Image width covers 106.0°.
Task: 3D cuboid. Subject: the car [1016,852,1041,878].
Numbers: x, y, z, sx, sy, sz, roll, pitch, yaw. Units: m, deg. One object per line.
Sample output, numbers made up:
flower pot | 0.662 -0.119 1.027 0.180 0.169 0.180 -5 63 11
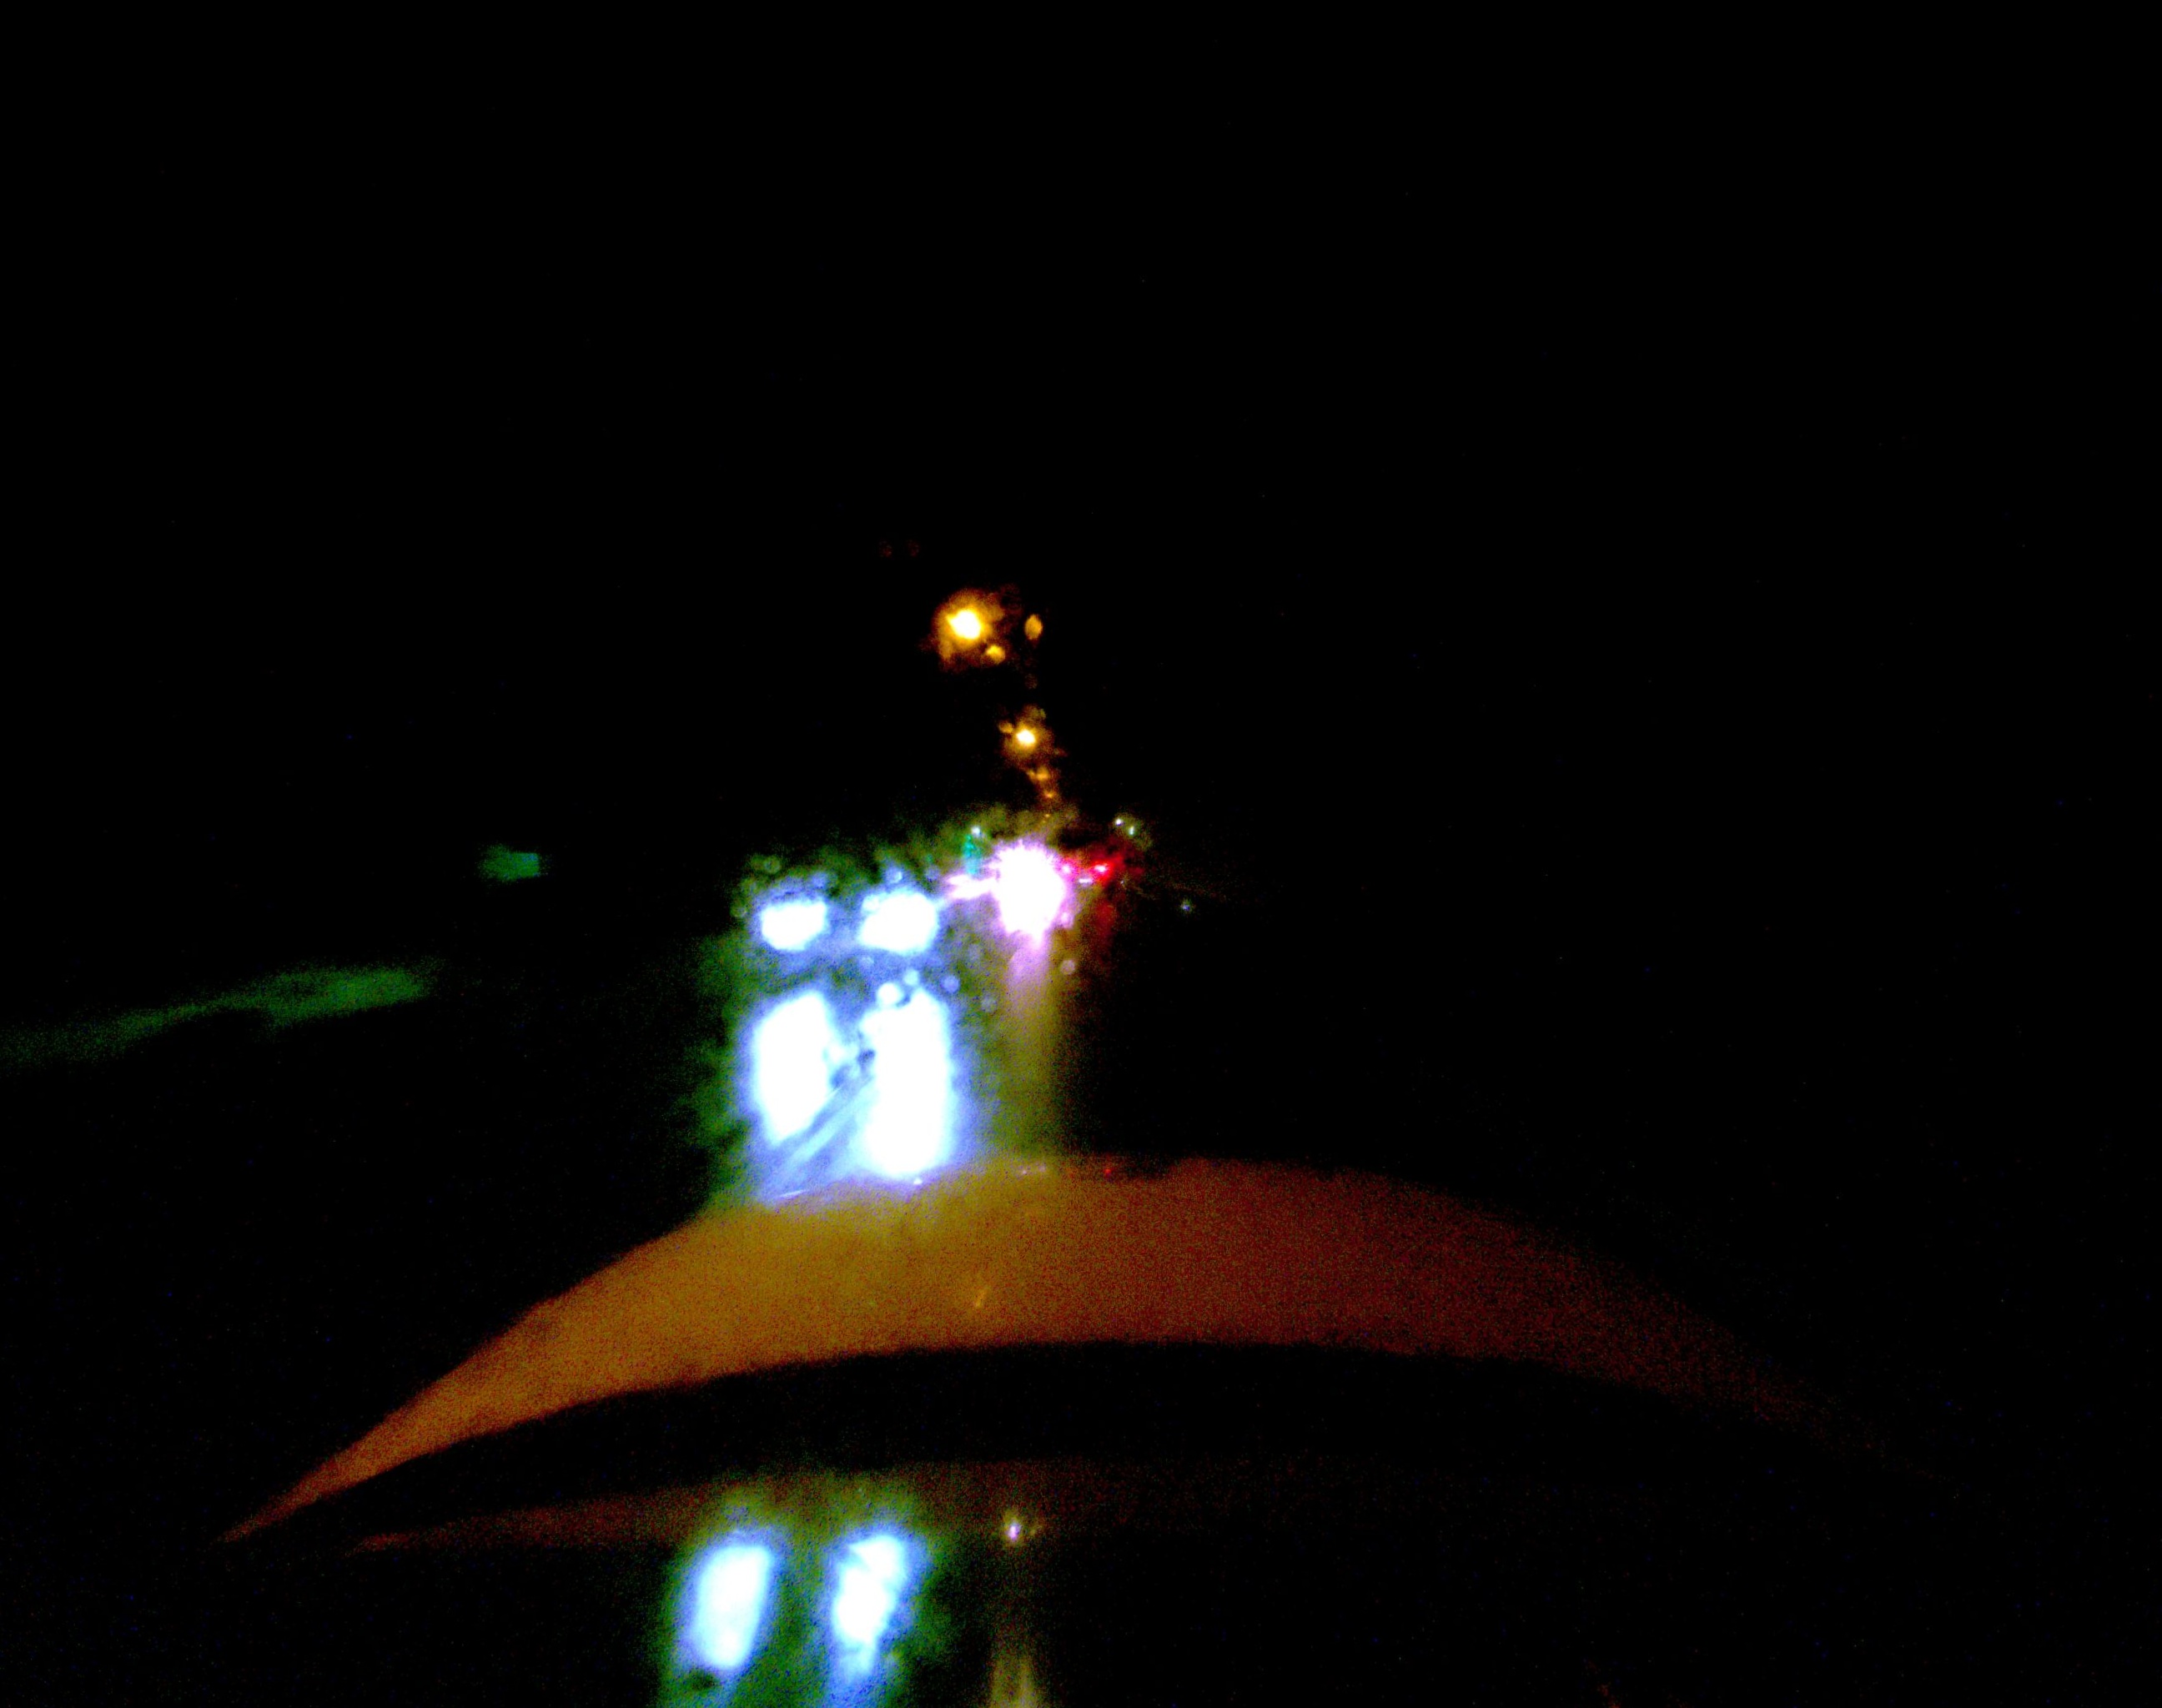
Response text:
car | -3.612 0.729 56.688 1.627 1.650 3.771 -2 0 -3

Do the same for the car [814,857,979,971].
car | -2.698 0.803 12.792 1.650 1.493 3.839 -1 0 1

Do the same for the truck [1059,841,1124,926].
truck | 0.525 1.051 32.523 2.253 3.011 7.419 -1 0 2
